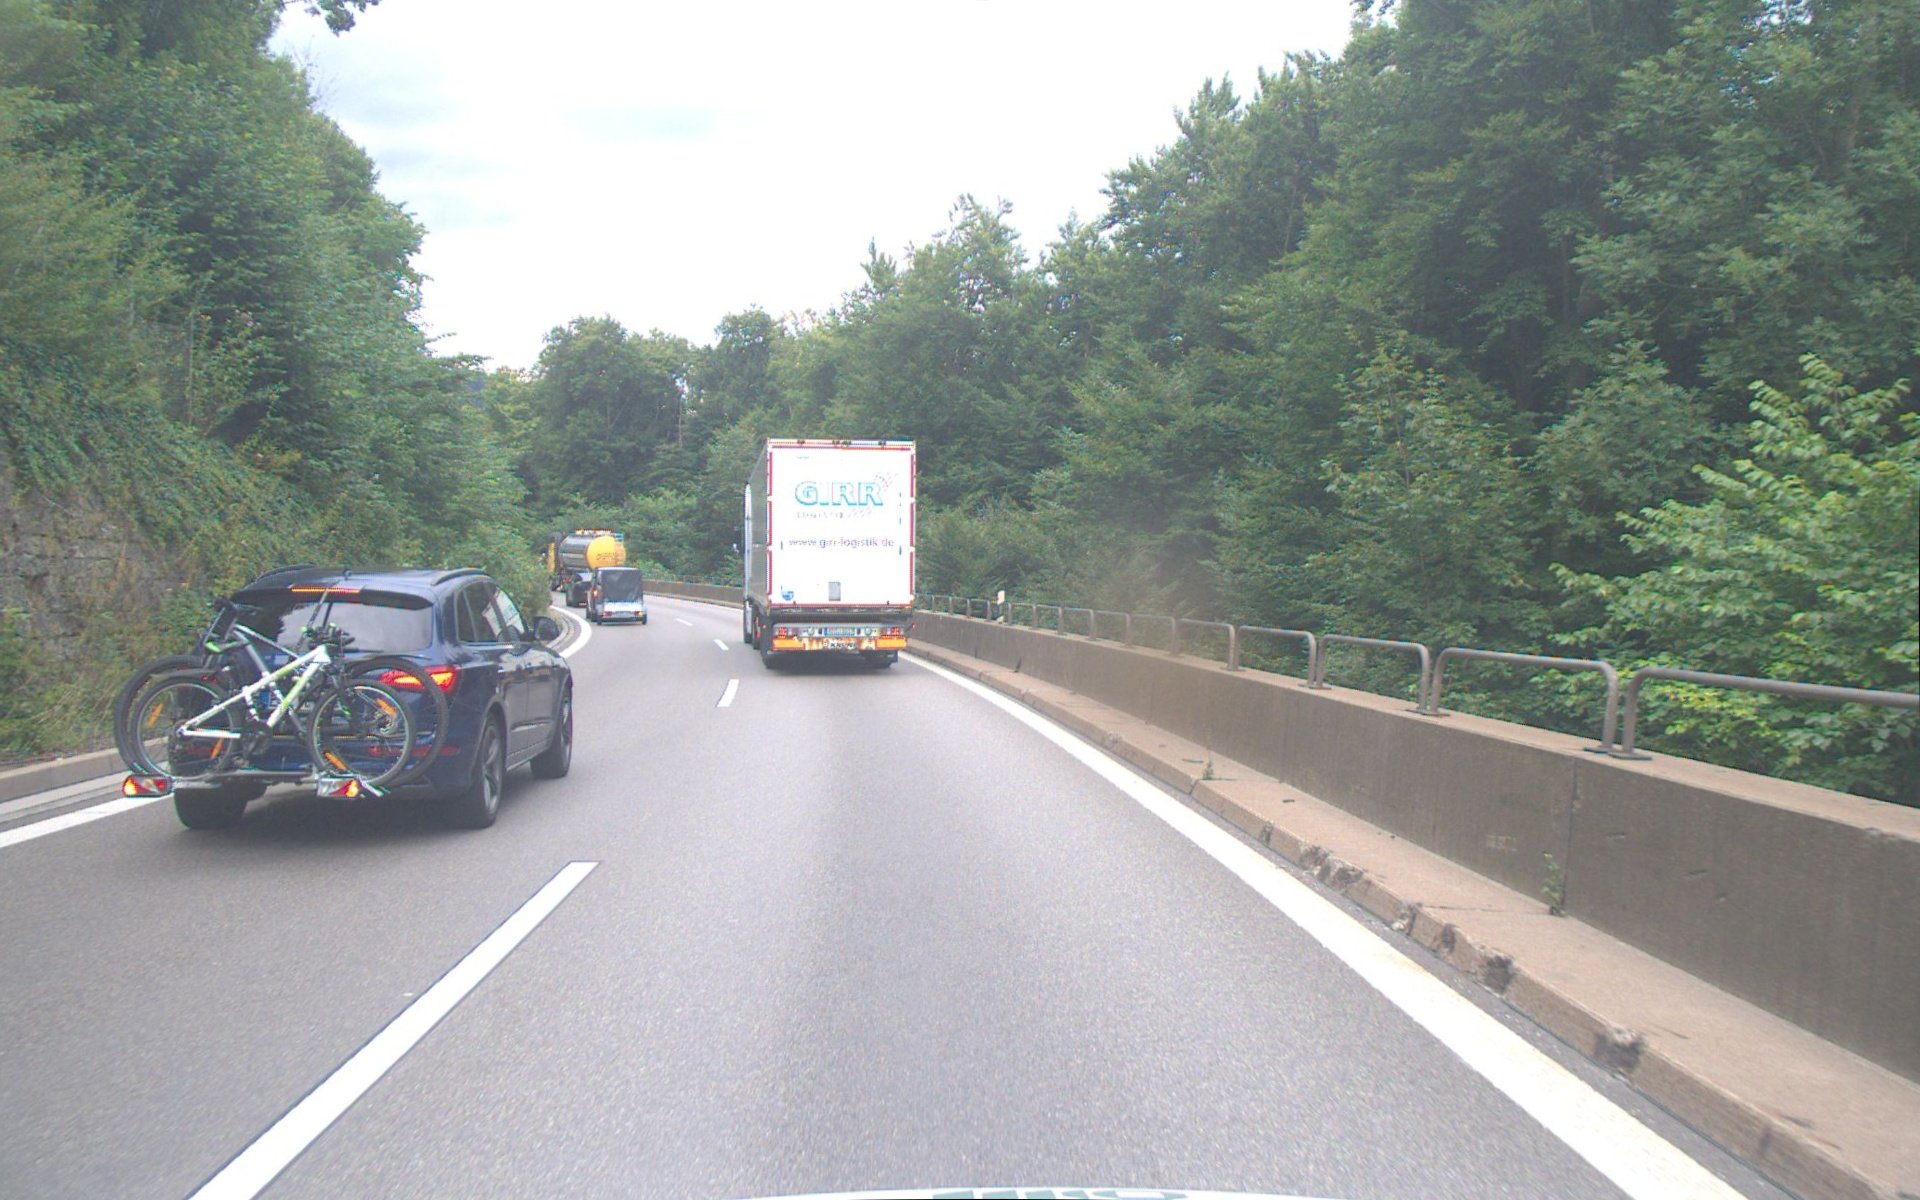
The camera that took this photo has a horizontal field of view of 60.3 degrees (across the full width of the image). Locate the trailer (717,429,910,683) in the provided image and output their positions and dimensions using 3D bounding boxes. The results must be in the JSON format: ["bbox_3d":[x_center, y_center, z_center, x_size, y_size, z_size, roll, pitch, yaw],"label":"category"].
[{"bbox_3d":[-3.280,-0.954,33.592,3.001,4.054,12.116,3,2,-8],"label":"trailer"}]

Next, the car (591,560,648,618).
[{"bbox_3d":[-12.826,-0.384,62.127,1.959,2.049,5.522,2,0,-13],"label":"car"}]

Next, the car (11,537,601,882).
[{"bbox_3d":[-3.886,0.586,11.123,1.932,1.621,5.581,4,-1,-3],"label":"car"}]

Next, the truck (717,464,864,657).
[{"bbox_3d":[-4.211,-0.993,39.928,3.001,4.054,7.175,3,2,-8],"label":"truck"}]

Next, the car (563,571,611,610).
[{"bbox_3d":[-17.593,-0.440,77.899,1.962,1.747,3.981,1,0,-17],"label":"car"}]

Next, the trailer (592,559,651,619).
[{"bbox_3d":[-11.839,-0.367,57.758,1.937,1.973,3.419,2,-1,-13],"label":"trailer"}]

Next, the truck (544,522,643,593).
[{"bbox_3d":[-22.827,-2.491,102.177,3.019,4.056,13.587,1,0,-25],"label":"truck"}]
